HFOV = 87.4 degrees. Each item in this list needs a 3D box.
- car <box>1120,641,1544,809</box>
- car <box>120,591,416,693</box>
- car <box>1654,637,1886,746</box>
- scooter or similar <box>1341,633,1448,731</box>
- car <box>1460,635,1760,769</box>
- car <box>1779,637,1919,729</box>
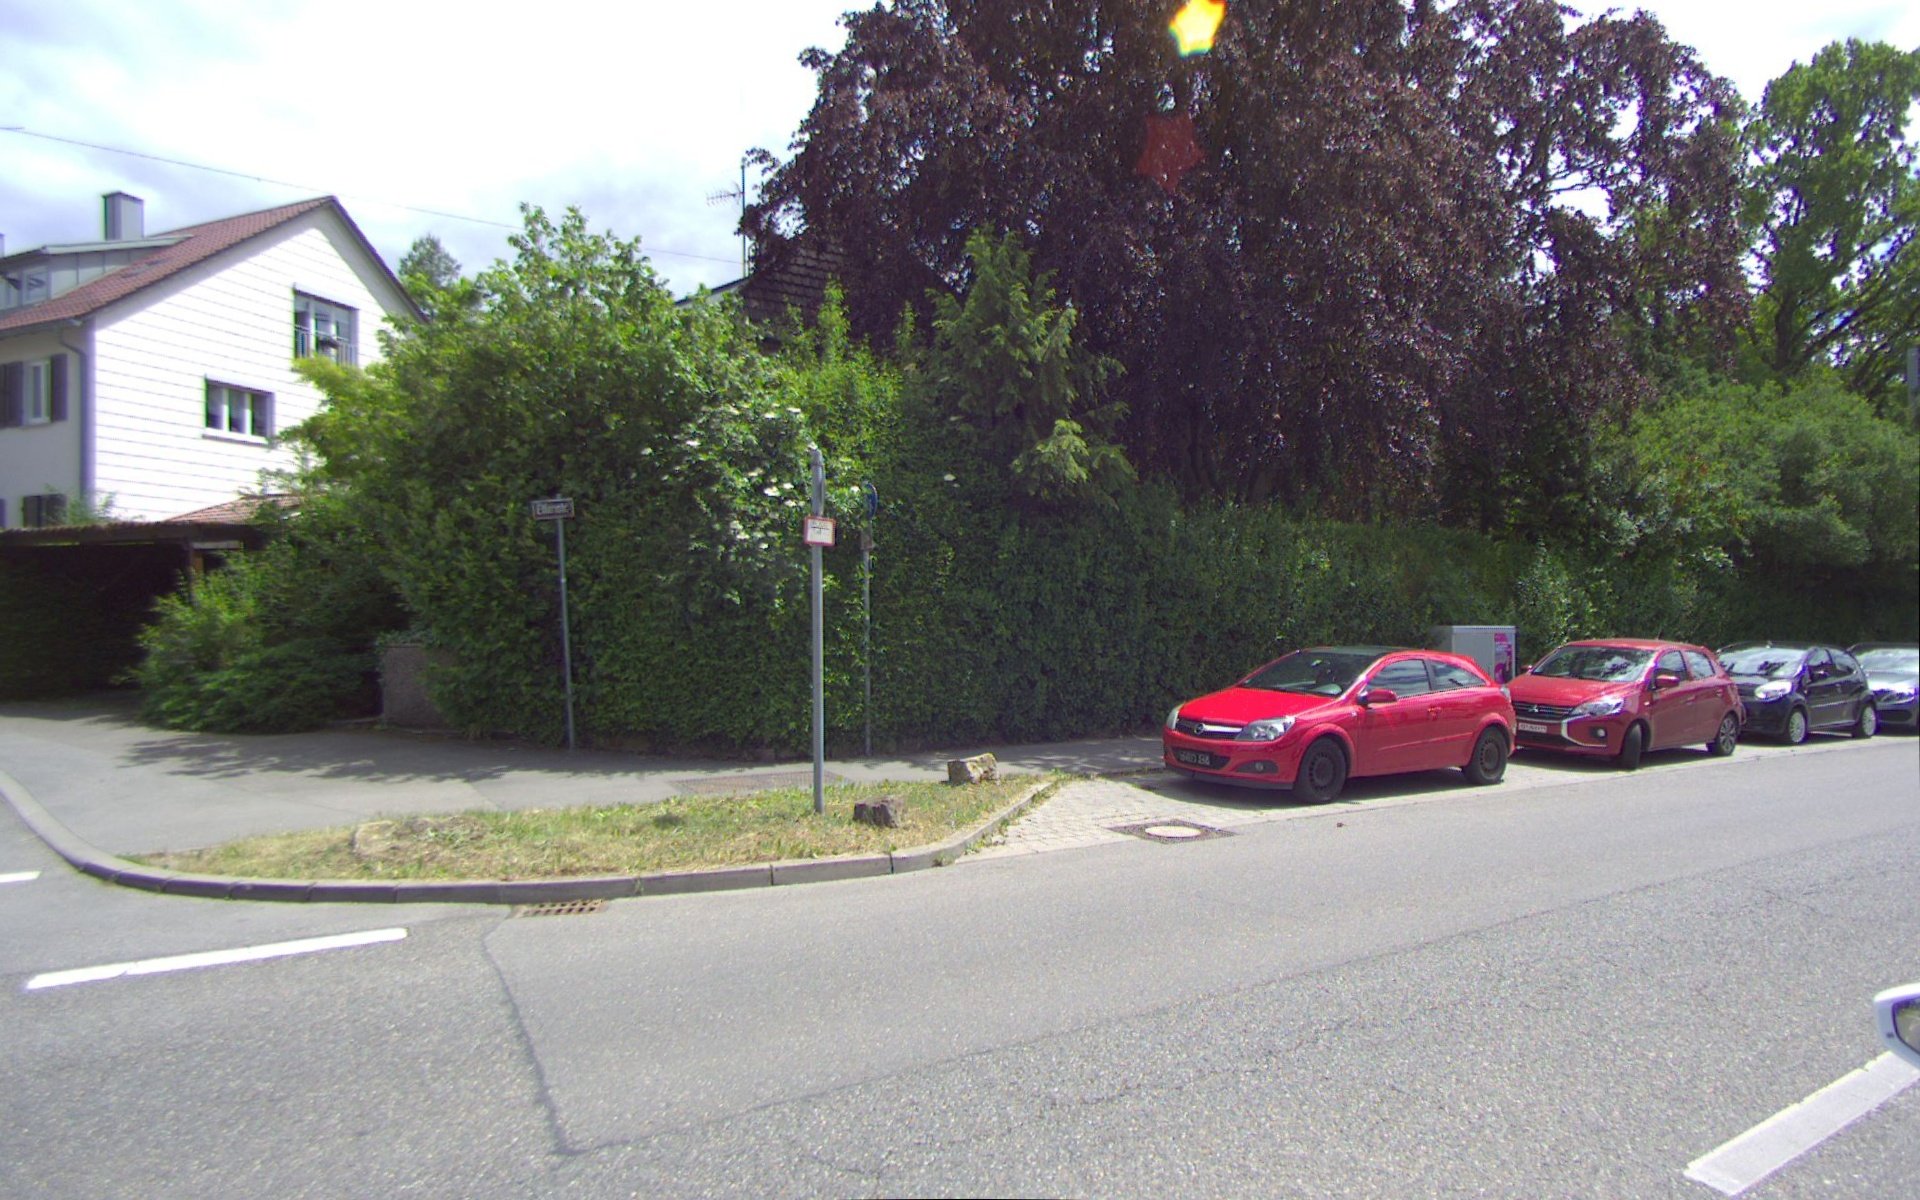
[{"bbox_3d":[3.973,1.161,10.491,4.511,1.396,1.653,2,-1,-30],"label":"car"},{"bbox_3d":[-11.682,0.670,17.317,1.694,1.530,4.001,0,-1,17],"label":"car"},{"bbox_3d":[12.619,1.352,15.628,3.552,1.470,1.589,2,-1,-29],"label":"car"},{"bbox_3d":[6.743,1.242,15.580,1.628,1.431,0.667,1,-1,-28],"label":"scooter or similar"},{"bbox_3d":[8.523,1.229,13.094,4.057,1.470,1.641,2,-1,-30],"label":"car"},{"bbox_3d":[16.403,1.376,17.576,4.631,1.383,1.687,2,0,-30],"label":"car"}]
